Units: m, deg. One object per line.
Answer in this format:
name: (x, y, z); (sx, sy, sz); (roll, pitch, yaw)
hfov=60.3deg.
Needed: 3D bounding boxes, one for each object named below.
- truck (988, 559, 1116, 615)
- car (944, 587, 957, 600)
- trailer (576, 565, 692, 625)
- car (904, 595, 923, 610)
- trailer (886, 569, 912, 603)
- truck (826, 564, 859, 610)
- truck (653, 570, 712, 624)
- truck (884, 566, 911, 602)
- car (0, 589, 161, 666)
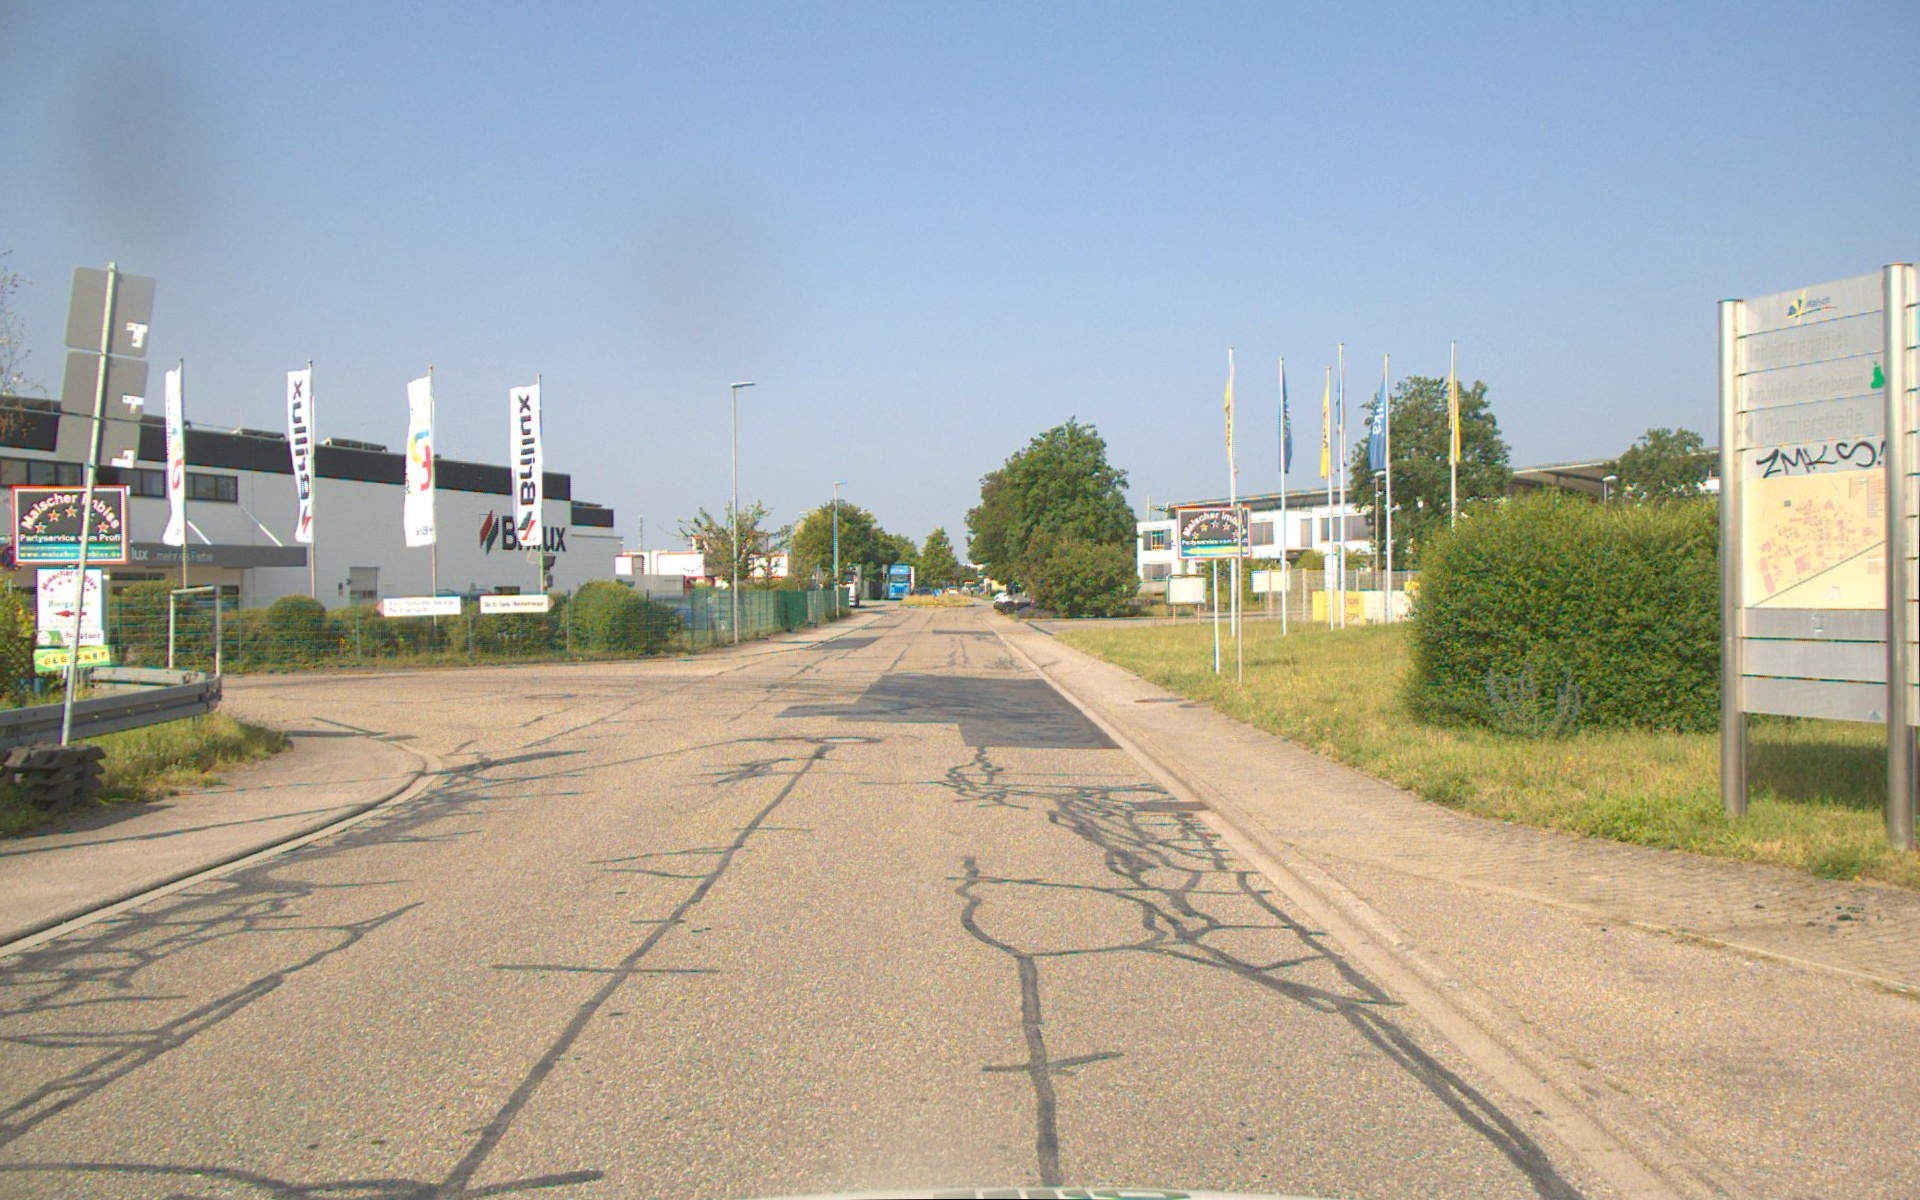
truck: (5.937, -0.825, 107.647); (8.042, 3.429, 2.740); (-1, -1, -2)
car: (-1.371, -0.926, 237.917); (1.683, 1.690, 3.822); (1, -1, -2)
trailer: (-23.840, -0.251, 122.072); (2.429, 4.112, 13.897); (1, -1, 15)
car: (-4.994, 0.305, 177.242); (1.954, 1.474, 4.418); (-3, 0, -2)
trailer: (-7.350, -1.672, 201.645); (2.773, 3.910, 12.033); (1, -1, -1)
truck: (-10.457, -1.117, 147.226); (2.654, 3.990, 4.295); (1, -1, -1)
truck: (-21.767, -0.185, 129.939); (2.459, 4.142, 5.547); (1, -1, 14)
truck: (-7.230, -1.789, 191.586); (2.768, 3.893, 9.670); (1, -1, -1)
car: (-22.016, 0.661, 40.159); (4.554, 1.783, 2.152); (-1, 0, 21)
